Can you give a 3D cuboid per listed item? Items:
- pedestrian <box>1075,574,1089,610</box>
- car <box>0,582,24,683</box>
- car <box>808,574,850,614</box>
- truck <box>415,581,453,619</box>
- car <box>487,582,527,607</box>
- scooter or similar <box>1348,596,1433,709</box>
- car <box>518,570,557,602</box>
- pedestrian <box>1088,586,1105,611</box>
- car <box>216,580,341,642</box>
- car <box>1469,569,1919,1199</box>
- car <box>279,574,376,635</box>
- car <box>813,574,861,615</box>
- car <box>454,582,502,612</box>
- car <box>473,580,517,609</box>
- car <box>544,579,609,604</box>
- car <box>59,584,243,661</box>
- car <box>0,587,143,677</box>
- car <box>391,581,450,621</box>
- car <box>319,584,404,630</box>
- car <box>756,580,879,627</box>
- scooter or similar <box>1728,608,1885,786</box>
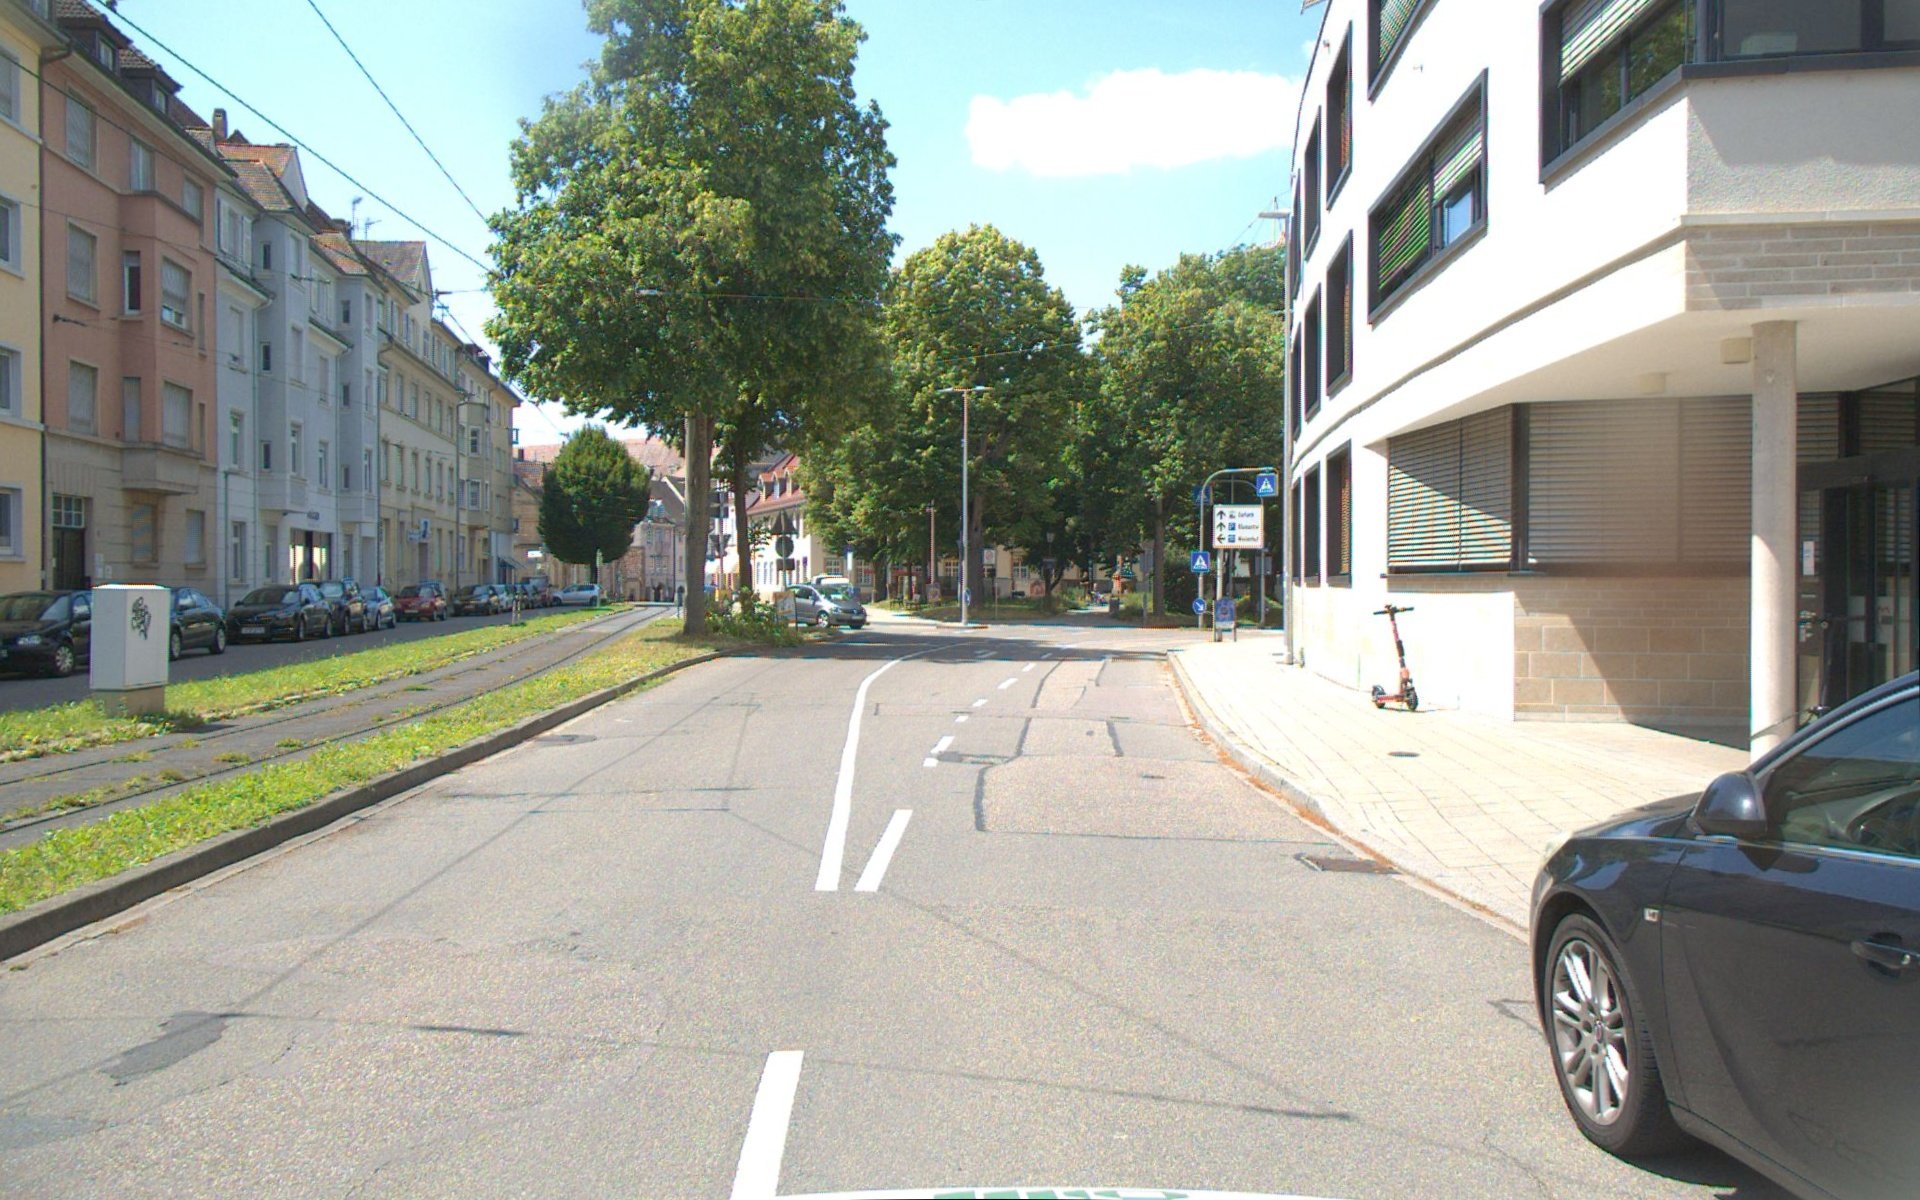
[{"bbox_3d":[6.708,-0.421,91.052,0.732,1.944,0.685,1,2,7],"label":"pedestrian"},{"bbox_3d":[-15.402,0.528,23.912,1.893,1.531,4.316,-1,1,-10],"label":"car"},{"bbox_3d":[-7.016,-0.362,88.242,2.010,2.037,5.241,1,1,-7],"label":"car"},{"bbox_3d":[-21.803,-0.017,68.663,1.105,1.520,2.589,-1,1,-9],"label":"truck"},{"bbox_3d":[-24.593,-0.322,89.806,1.655,1.300,3.283,-1,1,-8],"label":"car"},{"bbox_3d":[5.096,0.599,19.645,0.570,1.282,1.367,-2,0,-3],"label":"scooter or similar"},{"bbox_3d":[-26.476,-0.878,103.713,1.818,1.944,4.762,-1,1,-8],"label":"car"},{"bbox_3d":[7.483,-0.082,90.734,0.886,1.273,1.149,1,2,7],"label":"pedestrian"},{"bbox_3d":[-18.017,0.240,43.987,1.891,1.516,4.854,-1,1,-8],"label":"car"},{"bbox_3d":[2.734,0.692,3.129,1.765,1.535,4.543,-3,0,-5],"label":"car"},{"bbox_3d":[-18.838,0.107,49.458,1.802,1.715,4.135,-1,1,-8],"label":"car"},{"bbox_3d":[-5.973,-0.285,79.893,1.956,1.858,4.414,1,1,-8],"label":"car"},{"bbox_3d":[-23.136,-0.173,79.485,1.655,1.384,3.850,-1,1,-8],"label":"car"},{"bbox_3d":[-23.883,-0.319,84.998,1.655,1.414,3.850,-1,1,-8],"label":"car"},{"bbox_3d":[-25.420,-0.561,109.701,4.129,1.531,1.998,-1,1,-13],"label":"car"},{"bbox_3d":[-16.558,0.409,34.152,1.891,1.422,4.856,-1,1,-7],"label":"car"},{"bbox_3d":[-15.865,0.506,28.687,1.796,1.424,4.135,-1,1,-8],"label":"car"},{"bbox_3d":[-20.981,0.004,64.436,1.542,1.476,3.619,-1,1,-8],"label":"car"},{"bbox_3d":[-19.525,0.196,54.095,1.773,1.380,4.242,-1,1,-8],"label":"car"},{"bbox_3d":[-5.191,0.116,60.138,4.154,1.560,1.904,2,0,33],"label":"car"},{"bbox_3d":[6.298,0.690,12.369,0.414,1.232,1.314,0,0,-5],"label":"scooter or similar"}]
